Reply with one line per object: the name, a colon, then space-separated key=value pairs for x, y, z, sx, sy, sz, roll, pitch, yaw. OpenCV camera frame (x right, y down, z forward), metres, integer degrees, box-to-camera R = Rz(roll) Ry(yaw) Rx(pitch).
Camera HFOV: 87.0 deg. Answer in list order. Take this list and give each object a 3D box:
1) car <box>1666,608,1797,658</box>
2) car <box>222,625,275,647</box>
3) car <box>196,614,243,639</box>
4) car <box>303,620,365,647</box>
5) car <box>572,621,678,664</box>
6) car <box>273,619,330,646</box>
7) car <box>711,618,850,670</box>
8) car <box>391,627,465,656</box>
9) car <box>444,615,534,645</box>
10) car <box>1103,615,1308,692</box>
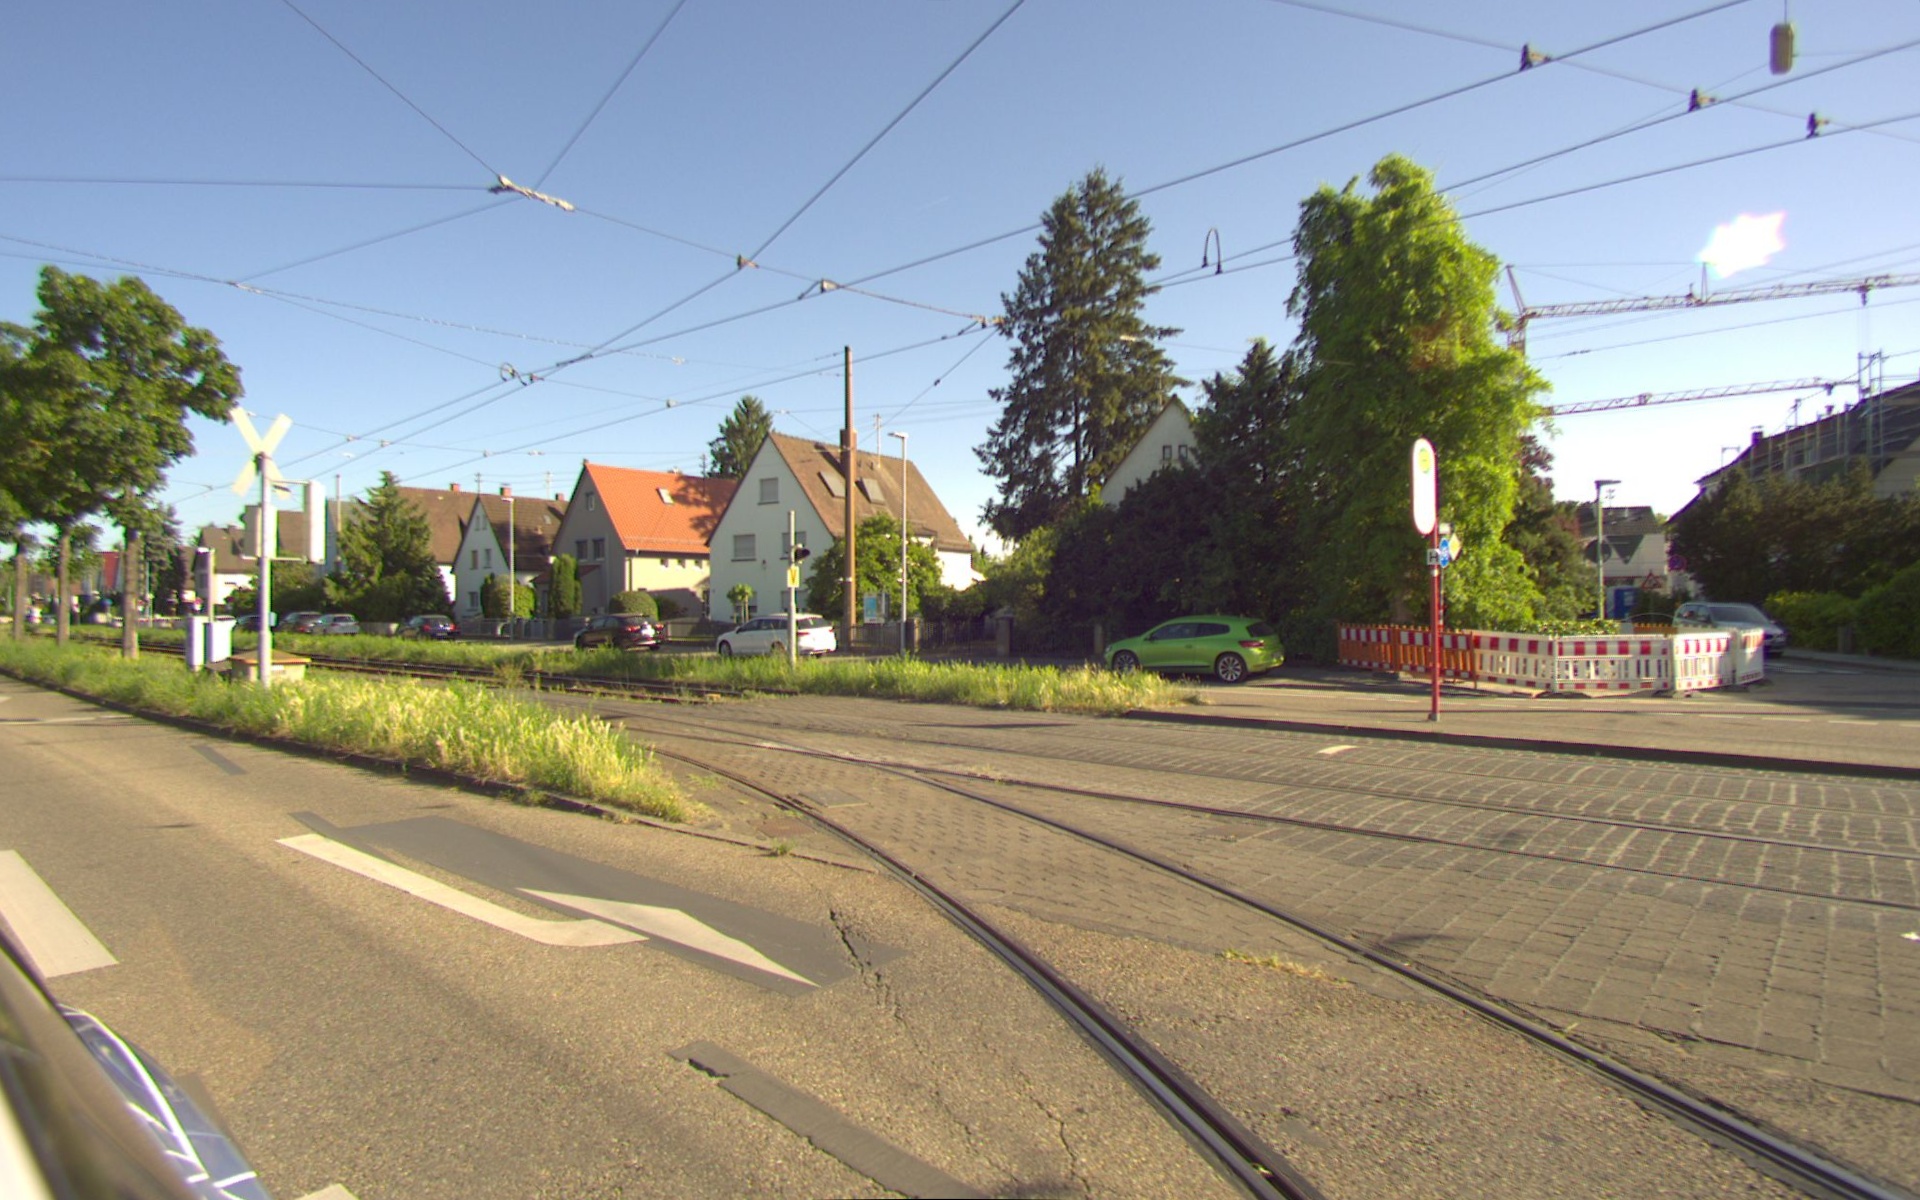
car: x=23.852 y=0.977 z=31.494 sx=1.733 sy=1.418 sz=4.467 roll=-1 pitch=0 yaw=17
car: x=-50.509 y=2.525 z=71.769 sx=4.980 sy=1.351 sz=1.973 roll=-1 pitch=1 yaw=42
car: x=-56.974 y=2.020 z=77.835 sx=4.583 sy=1.877 sz=1.972 roll=-1 pitch=-1 yaw=42
car: x=-37.731 y=2.009 z=60.951 sx=4.837 sy=1.483 sz=1.864 roll=-1 pitch=1 yaw=42
car: x=-12.892 y=1.593 z=38.801 sx=4.439 sy=1.477 sz=1.887 roll=-1 pitch=1 yaw=42
car: x=-41.698 y=2.018 z=64.087 sx=4.535 sy=1.572 sz=1.864 roll=-1 pitch=1 yaw=42
car: x=-5.823 y=1.363 z=32.555 sx=4.611 sy=1.483 sz=1.865 roll=-1 pitch=1 yaw=40
car: x=-26.983 y=2.069 z=51.254 sx=4.309 sy=1.382 sz=1.972 roll=-1 pitch=-1 yaw=42
car: x=-27.677 y=1.743 z=59.582 sx=1.746 sy=1.481 sz=4.433 roll=-1 pitch=1 yaw=39
car: x=5.491 y=1.135 z=22.896 sx=4.065 sy=1.512 sz=1.974 roll=-1 pitch=1 yaw=40
